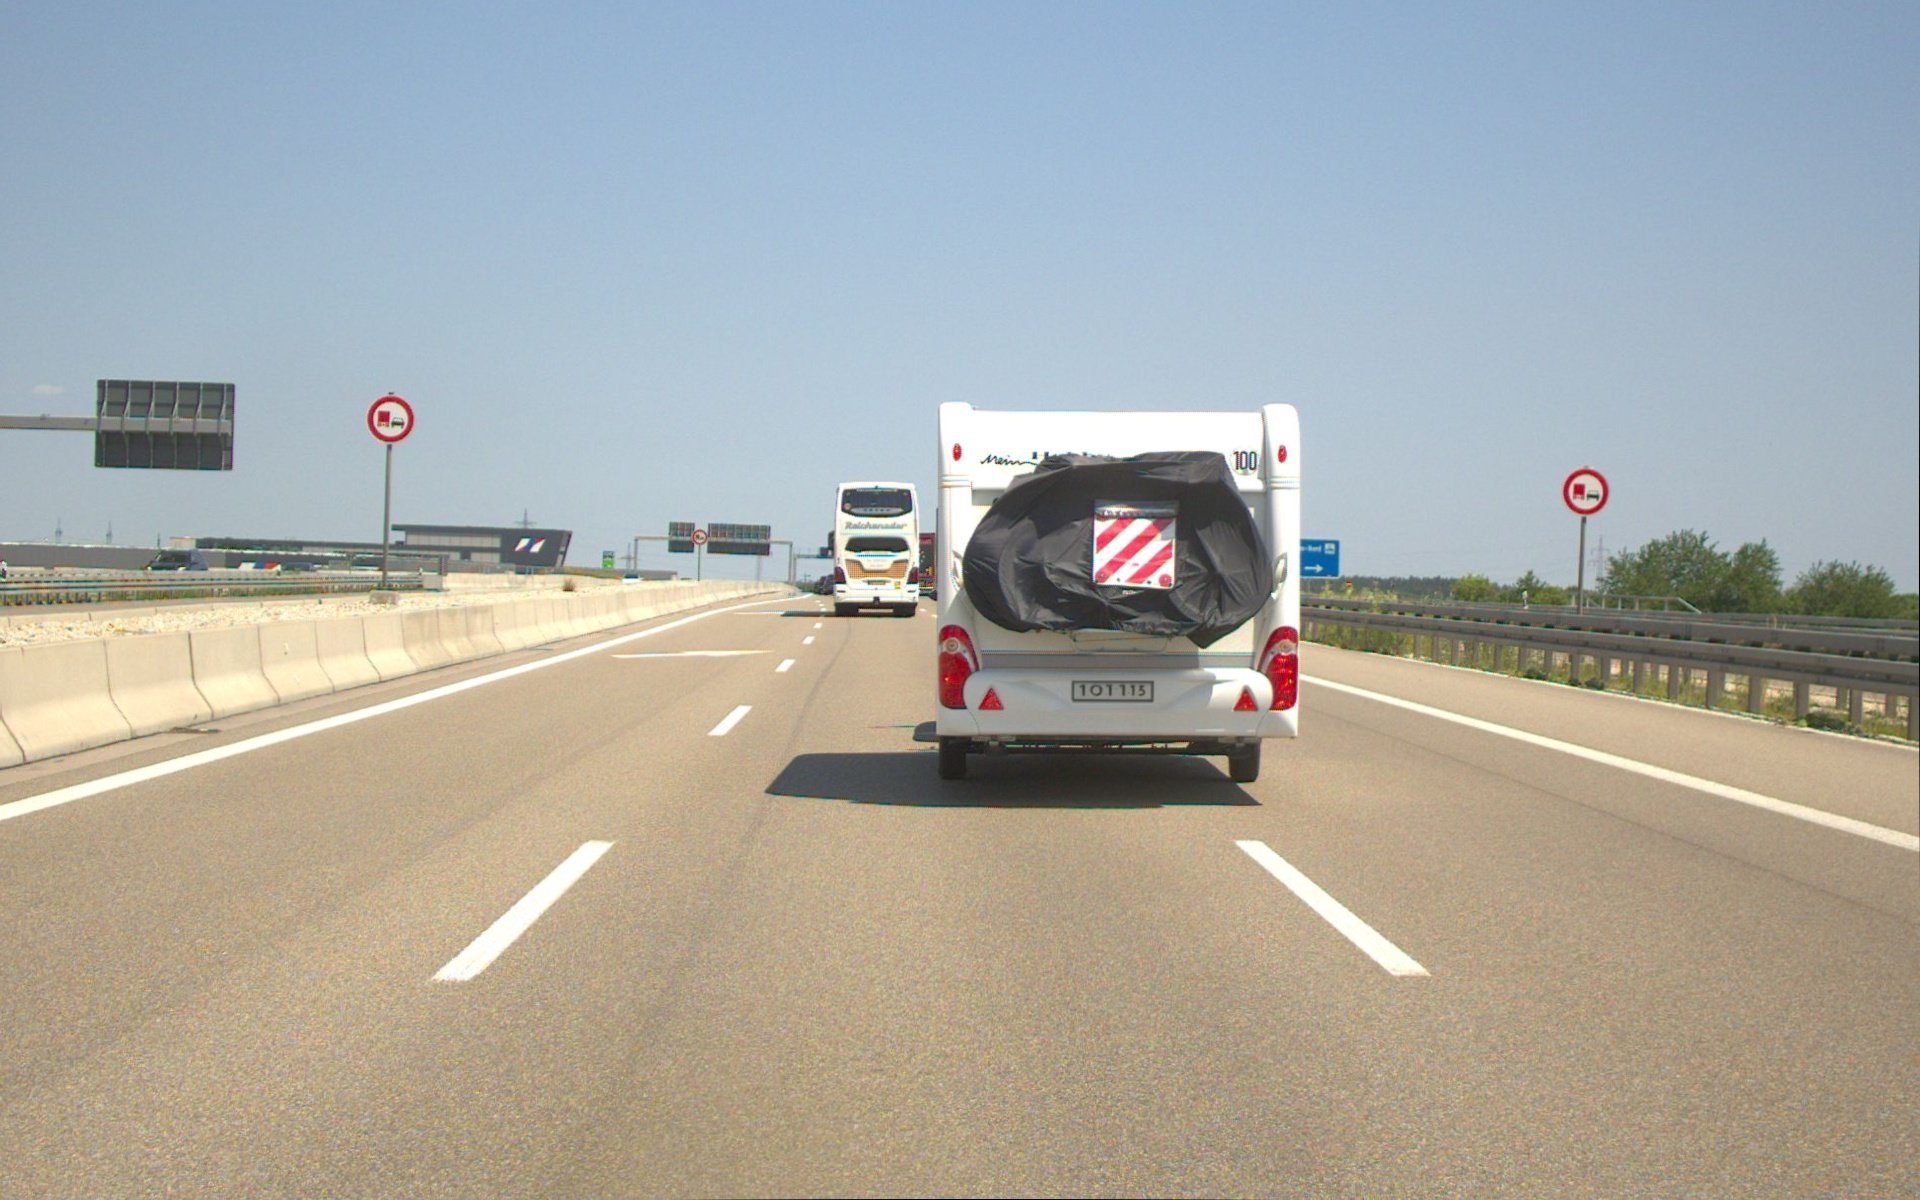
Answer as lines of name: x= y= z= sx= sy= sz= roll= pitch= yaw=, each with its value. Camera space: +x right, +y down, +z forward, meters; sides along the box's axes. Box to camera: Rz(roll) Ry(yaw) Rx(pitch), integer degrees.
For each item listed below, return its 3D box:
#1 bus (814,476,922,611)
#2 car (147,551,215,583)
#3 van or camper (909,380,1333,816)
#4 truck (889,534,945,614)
bus: x=-2.912 y=-1.731 z=106.063 sx=2.980 sy=3.961 sz=9.106 roll=1 pitch=1 yaw=-3
car: x=-34.603 y=-1.483 z=152.888 sx=1.993 sy=1.375 sz=4.362 roll=1 pitch=1 yaw=1
van or camper: x=0.944 y=-0.053 z=24.561 sx=2.512 sy=2.584 sz=7.817 roll=1 pitch=1 yaw=0
truck: x=-2.801 y=-1.580 z=222.641 sx=3.379 sy=4.449 sz=13.566 roll=1 pitch=-2 yaw=-1
